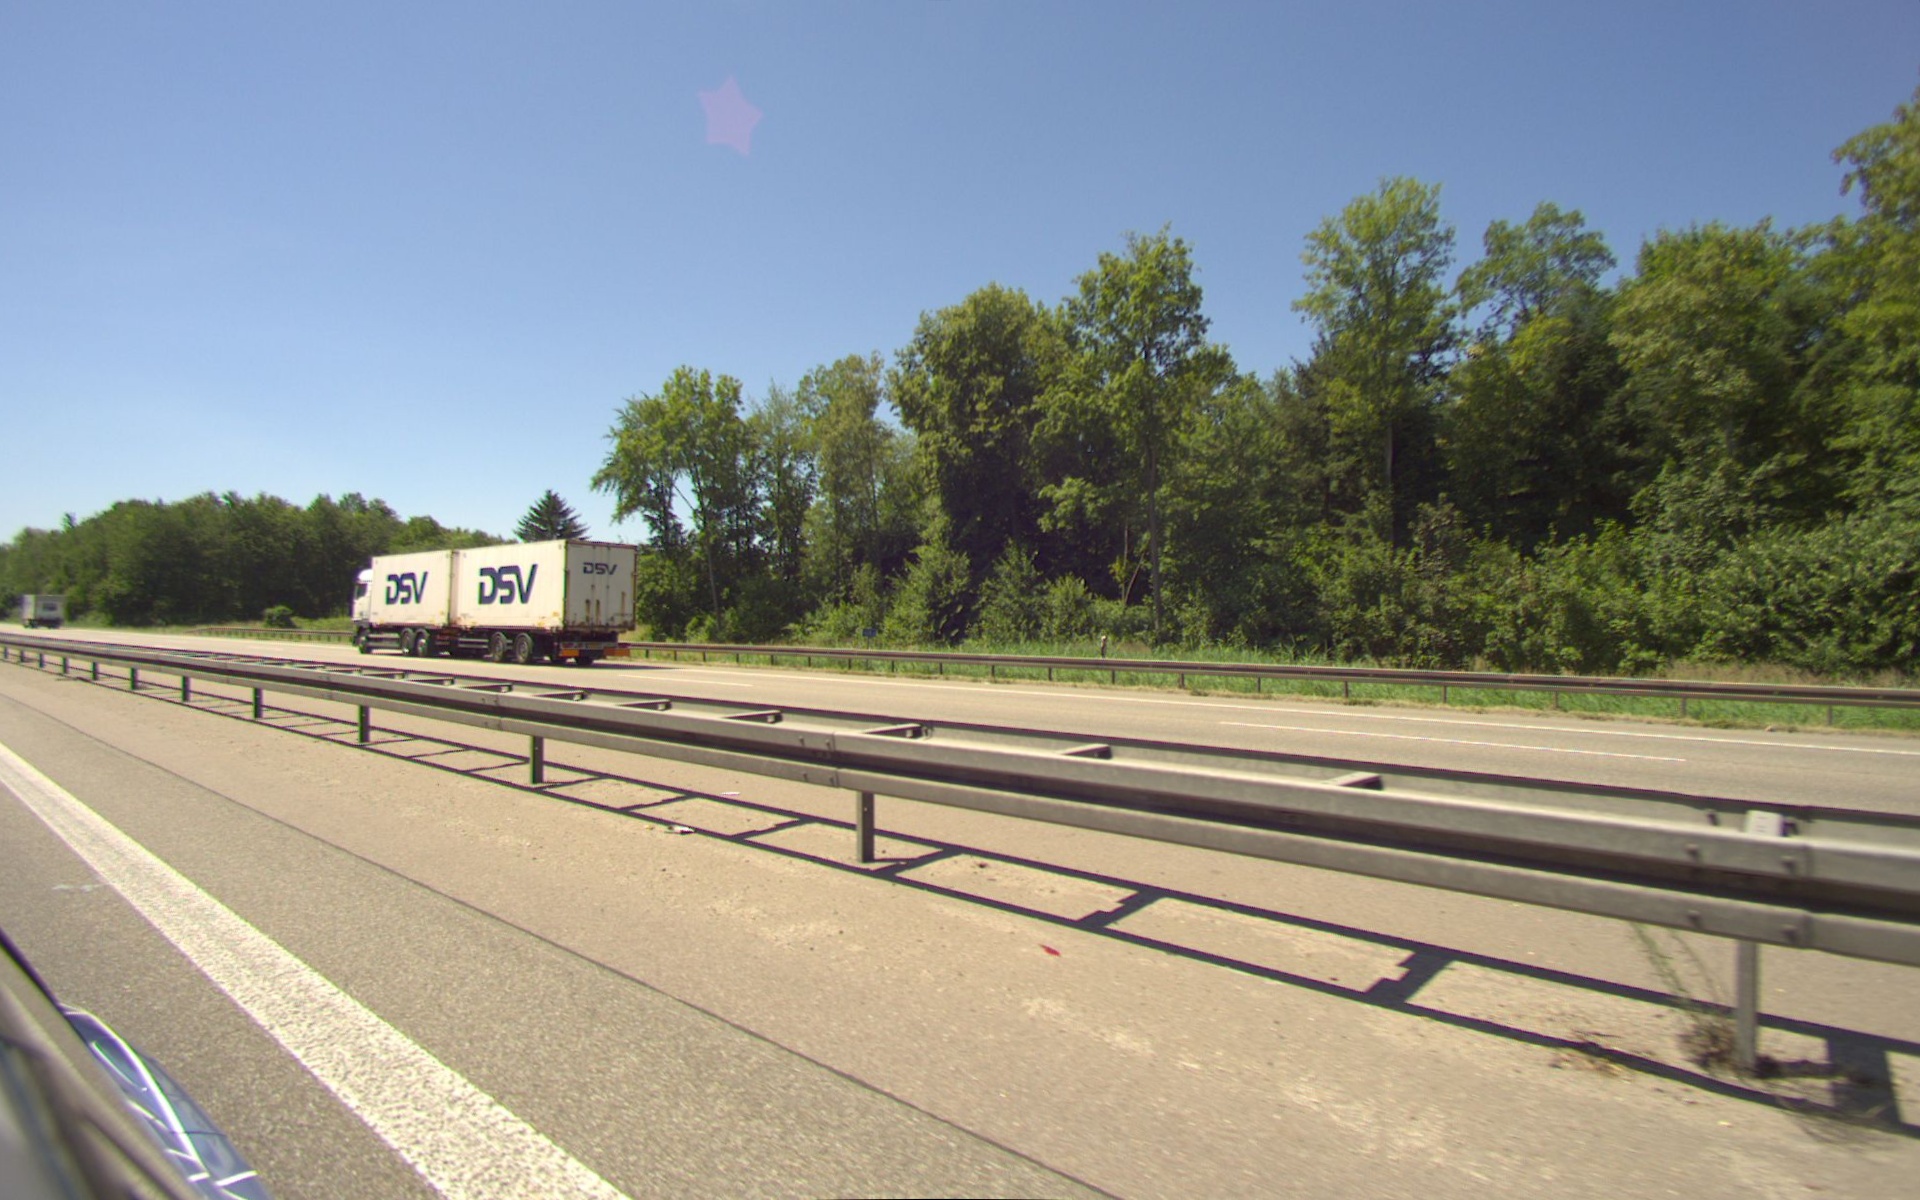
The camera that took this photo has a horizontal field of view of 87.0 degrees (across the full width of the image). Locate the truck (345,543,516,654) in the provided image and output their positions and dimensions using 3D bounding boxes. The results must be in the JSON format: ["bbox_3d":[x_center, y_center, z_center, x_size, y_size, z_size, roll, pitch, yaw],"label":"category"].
[{"bbox_3d":[-21.665,-0.033,41.033,10.333,4.038,2.554,0,0,41],"label":"truck"}]

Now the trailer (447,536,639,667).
[{"bbox_3d":[-14.513,0.063,34.808,8.555,4.019,2.552,0,0,41],"label":"trailer"}]

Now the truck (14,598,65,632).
[{"bbox_3d":[-101.819,1.627,111.893,10.265,3.646,2.963,0,0,41],"label":"truck"}]
